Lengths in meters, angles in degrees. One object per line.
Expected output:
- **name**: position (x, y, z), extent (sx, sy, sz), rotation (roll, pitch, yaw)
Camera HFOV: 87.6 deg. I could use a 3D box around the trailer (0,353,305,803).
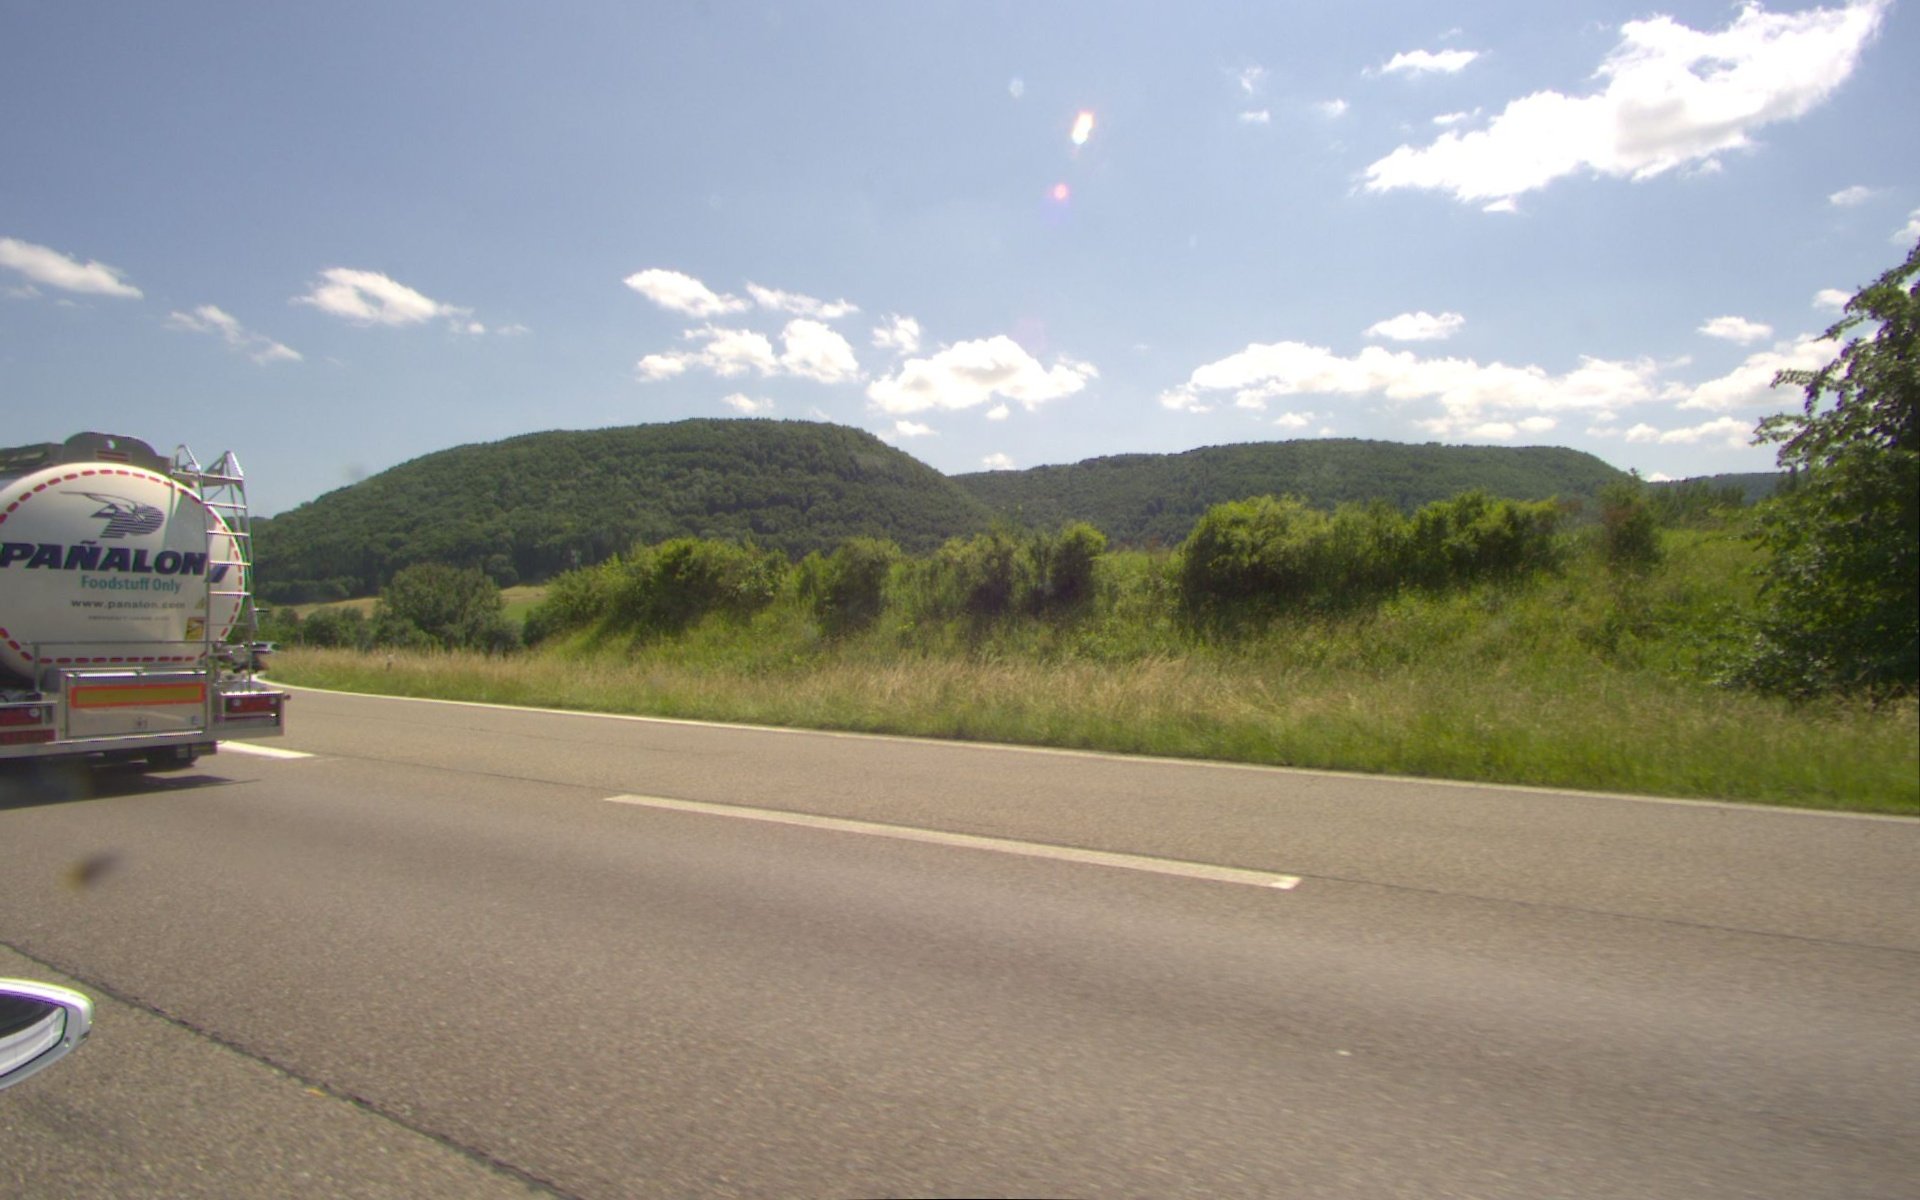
- **trailer**: position (-12.483, -0.079, 12.456), extent (11.719, 3.783, 2.534), rotation (-1, -1, 32)
